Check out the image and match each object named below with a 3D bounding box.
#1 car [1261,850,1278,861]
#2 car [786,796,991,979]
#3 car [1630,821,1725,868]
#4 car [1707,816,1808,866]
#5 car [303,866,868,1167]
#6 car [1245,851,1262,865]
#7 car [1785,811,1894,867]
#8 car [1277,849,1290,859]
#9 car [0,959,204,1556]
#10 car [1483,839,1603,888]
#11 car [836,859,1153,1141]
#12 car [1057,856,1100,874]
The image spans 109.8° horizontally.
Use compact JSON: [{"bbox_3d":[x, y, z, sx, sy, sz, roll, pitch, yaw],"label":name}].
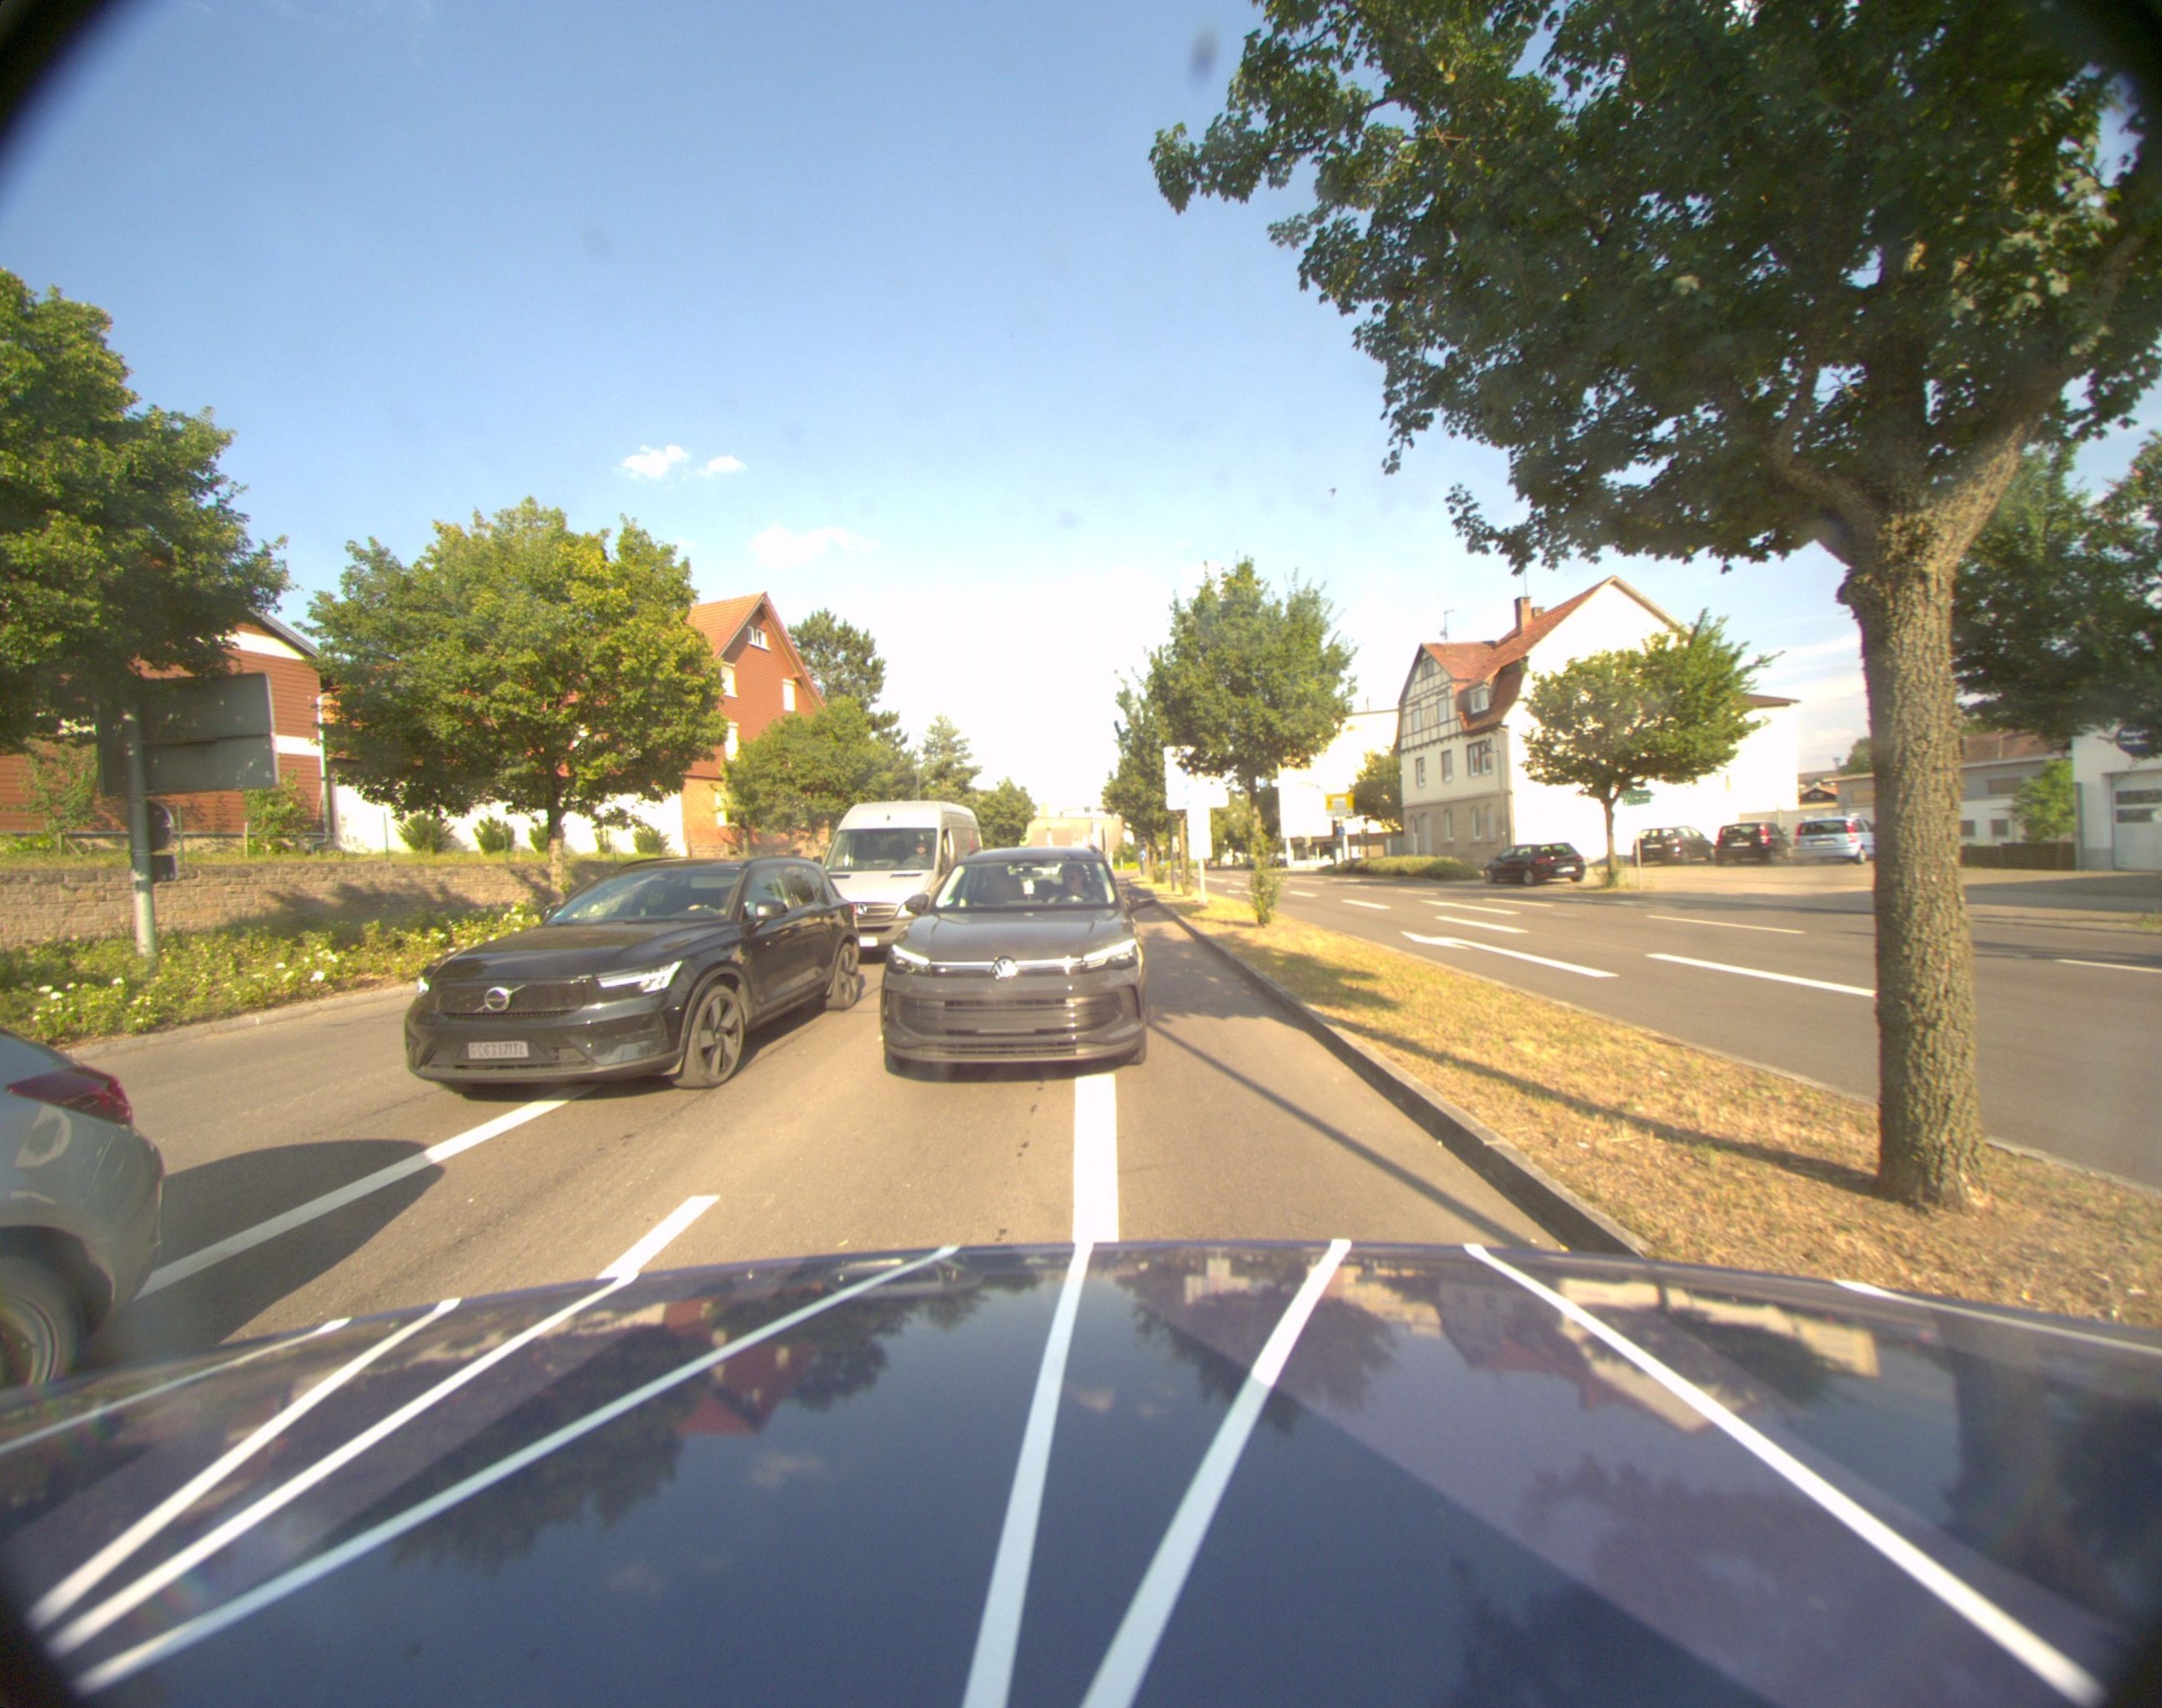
[{"bbox_3d":[32.386,0.297,130.199,1.778,1.683,4.007,-2,0,29],"label":"car"},{"bbox_3d":[-3.069,0.460,13.730,1.992,2.554,6.046,-1,0,2],"label":"car"},{"bbox_3d":[23.380,-0.384,29.758,3.830,1.493,1.816,-5,0,-35],"label":"car"},{"bbox_3d":[24.658,-0.482,27.661,3.830,1.493,1.816,-5,0,-35],"label":"car"},{"bbox_3d":[-3.398,0.954,6.434,1.845,1.600,4.318,-1,0,2],"label":"car"},{"bbox_3d":[23.022,0.550,101.271,1.779,1.683,4.005,-2,0,17],"label":"car"},{"bbox_3d":[24.880,-0.496,24.895,3.830,1.493,1.816,-5,0,-35],"label":"car"},{"bbox_3d":[39.124,-0.002,146.781,1.778,1.683,4.006,-2,0,24],"label":"car"},{"bbox_3d":[-3.612,1.067,0.186,1.766,1.445,4.318,-1,0,0],"label":"car"},{"bbox_3d":[16.034,0.288,26.623,1.818,1.442,3.825,-5,0,1],"label":"car"},{"bbox_3d":[-0.450,0.879,6.622,1.845,1.600,4.318,-1,0,2],"label":"car"},{"bbox_3d":[-0.284,1.078,74.937,3.989,1.597,1.786,-2,1,39],"label":"car"}]
